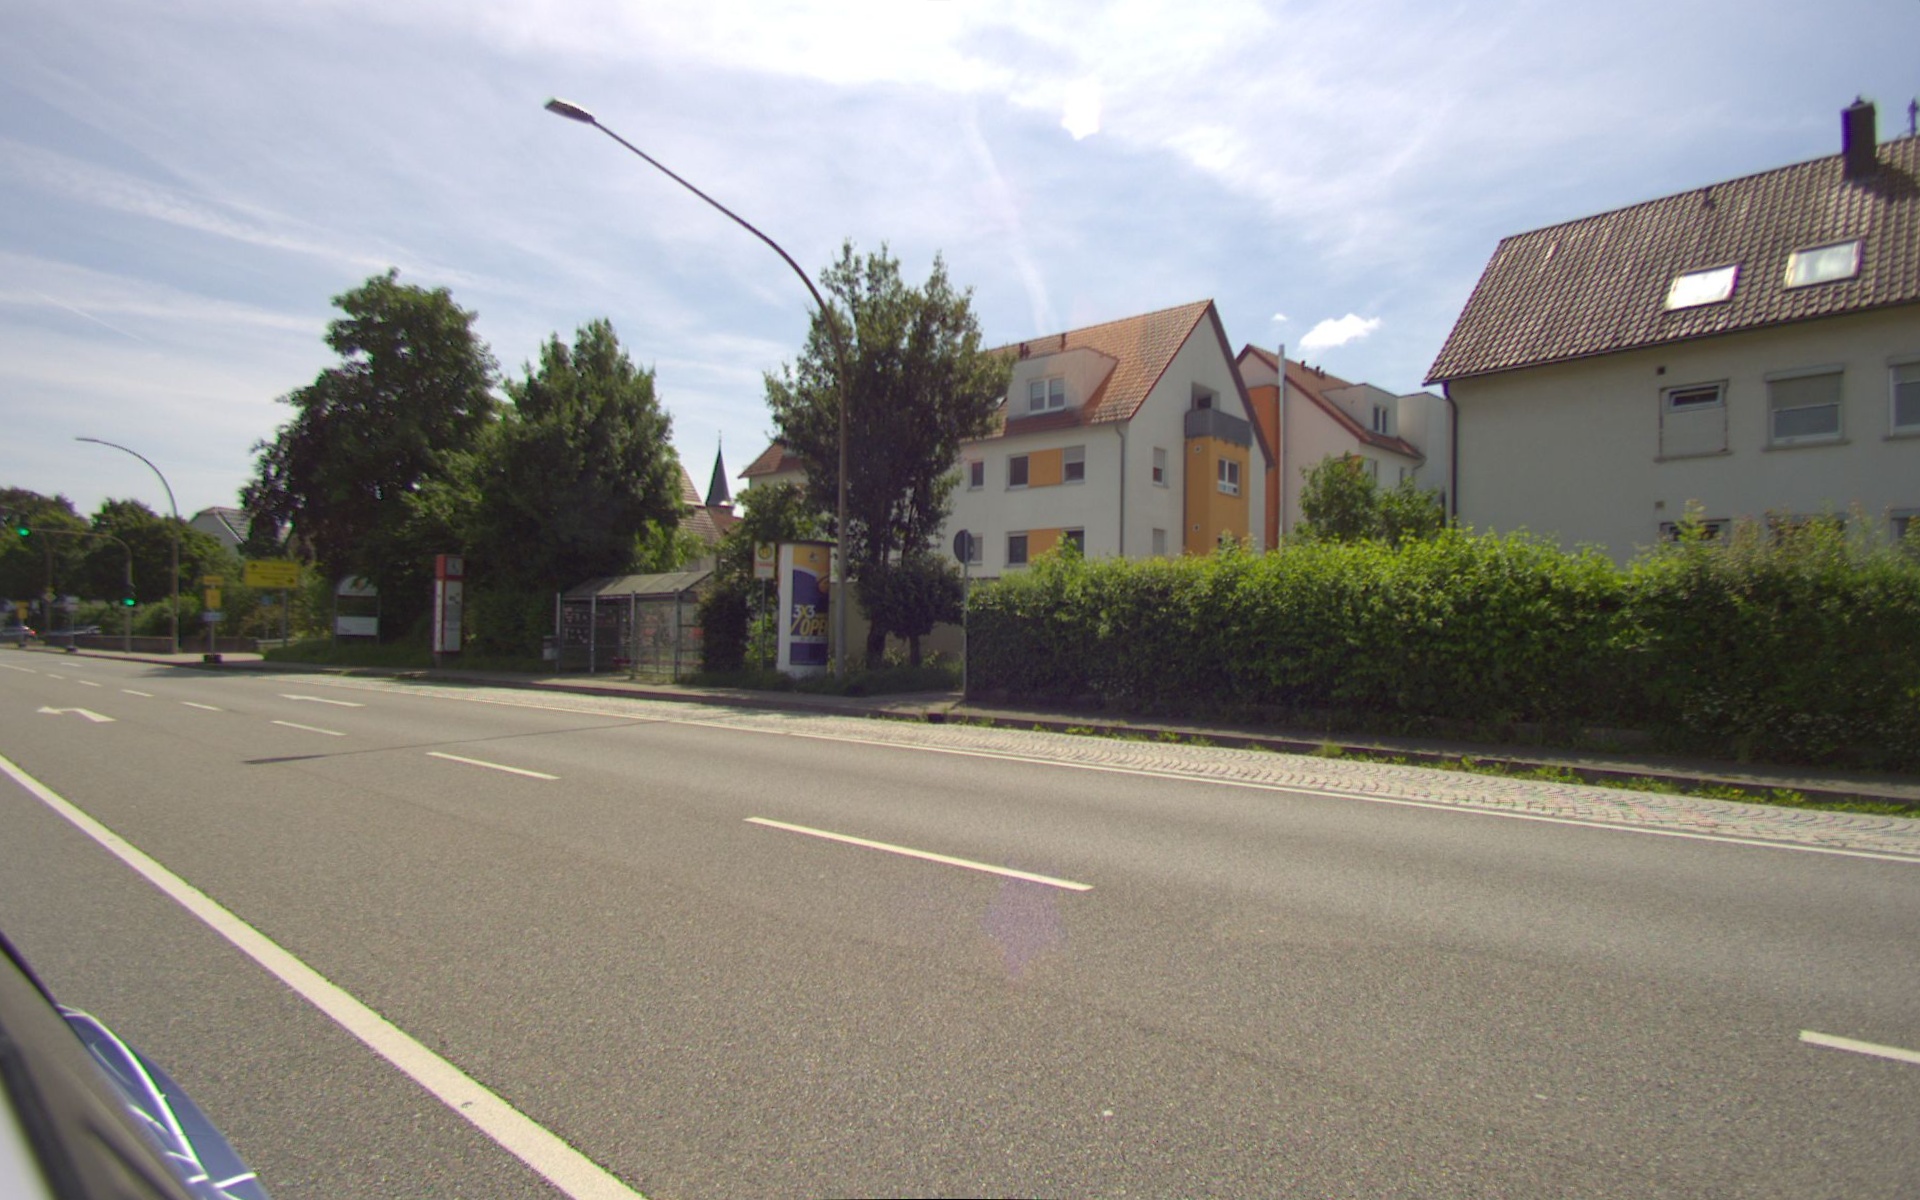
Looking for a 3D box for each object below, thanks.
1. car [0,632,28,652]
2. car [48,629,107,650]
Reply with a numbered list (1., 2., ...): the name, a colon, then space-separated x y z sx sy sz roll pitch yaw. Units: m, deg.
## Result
1. car: -87.719 3.868 92.095 1.996 1.767 3.951 -1 0 37
2. car: -84.282 3.760 96.660 1.997 1.783 3.949 -1 0 38
